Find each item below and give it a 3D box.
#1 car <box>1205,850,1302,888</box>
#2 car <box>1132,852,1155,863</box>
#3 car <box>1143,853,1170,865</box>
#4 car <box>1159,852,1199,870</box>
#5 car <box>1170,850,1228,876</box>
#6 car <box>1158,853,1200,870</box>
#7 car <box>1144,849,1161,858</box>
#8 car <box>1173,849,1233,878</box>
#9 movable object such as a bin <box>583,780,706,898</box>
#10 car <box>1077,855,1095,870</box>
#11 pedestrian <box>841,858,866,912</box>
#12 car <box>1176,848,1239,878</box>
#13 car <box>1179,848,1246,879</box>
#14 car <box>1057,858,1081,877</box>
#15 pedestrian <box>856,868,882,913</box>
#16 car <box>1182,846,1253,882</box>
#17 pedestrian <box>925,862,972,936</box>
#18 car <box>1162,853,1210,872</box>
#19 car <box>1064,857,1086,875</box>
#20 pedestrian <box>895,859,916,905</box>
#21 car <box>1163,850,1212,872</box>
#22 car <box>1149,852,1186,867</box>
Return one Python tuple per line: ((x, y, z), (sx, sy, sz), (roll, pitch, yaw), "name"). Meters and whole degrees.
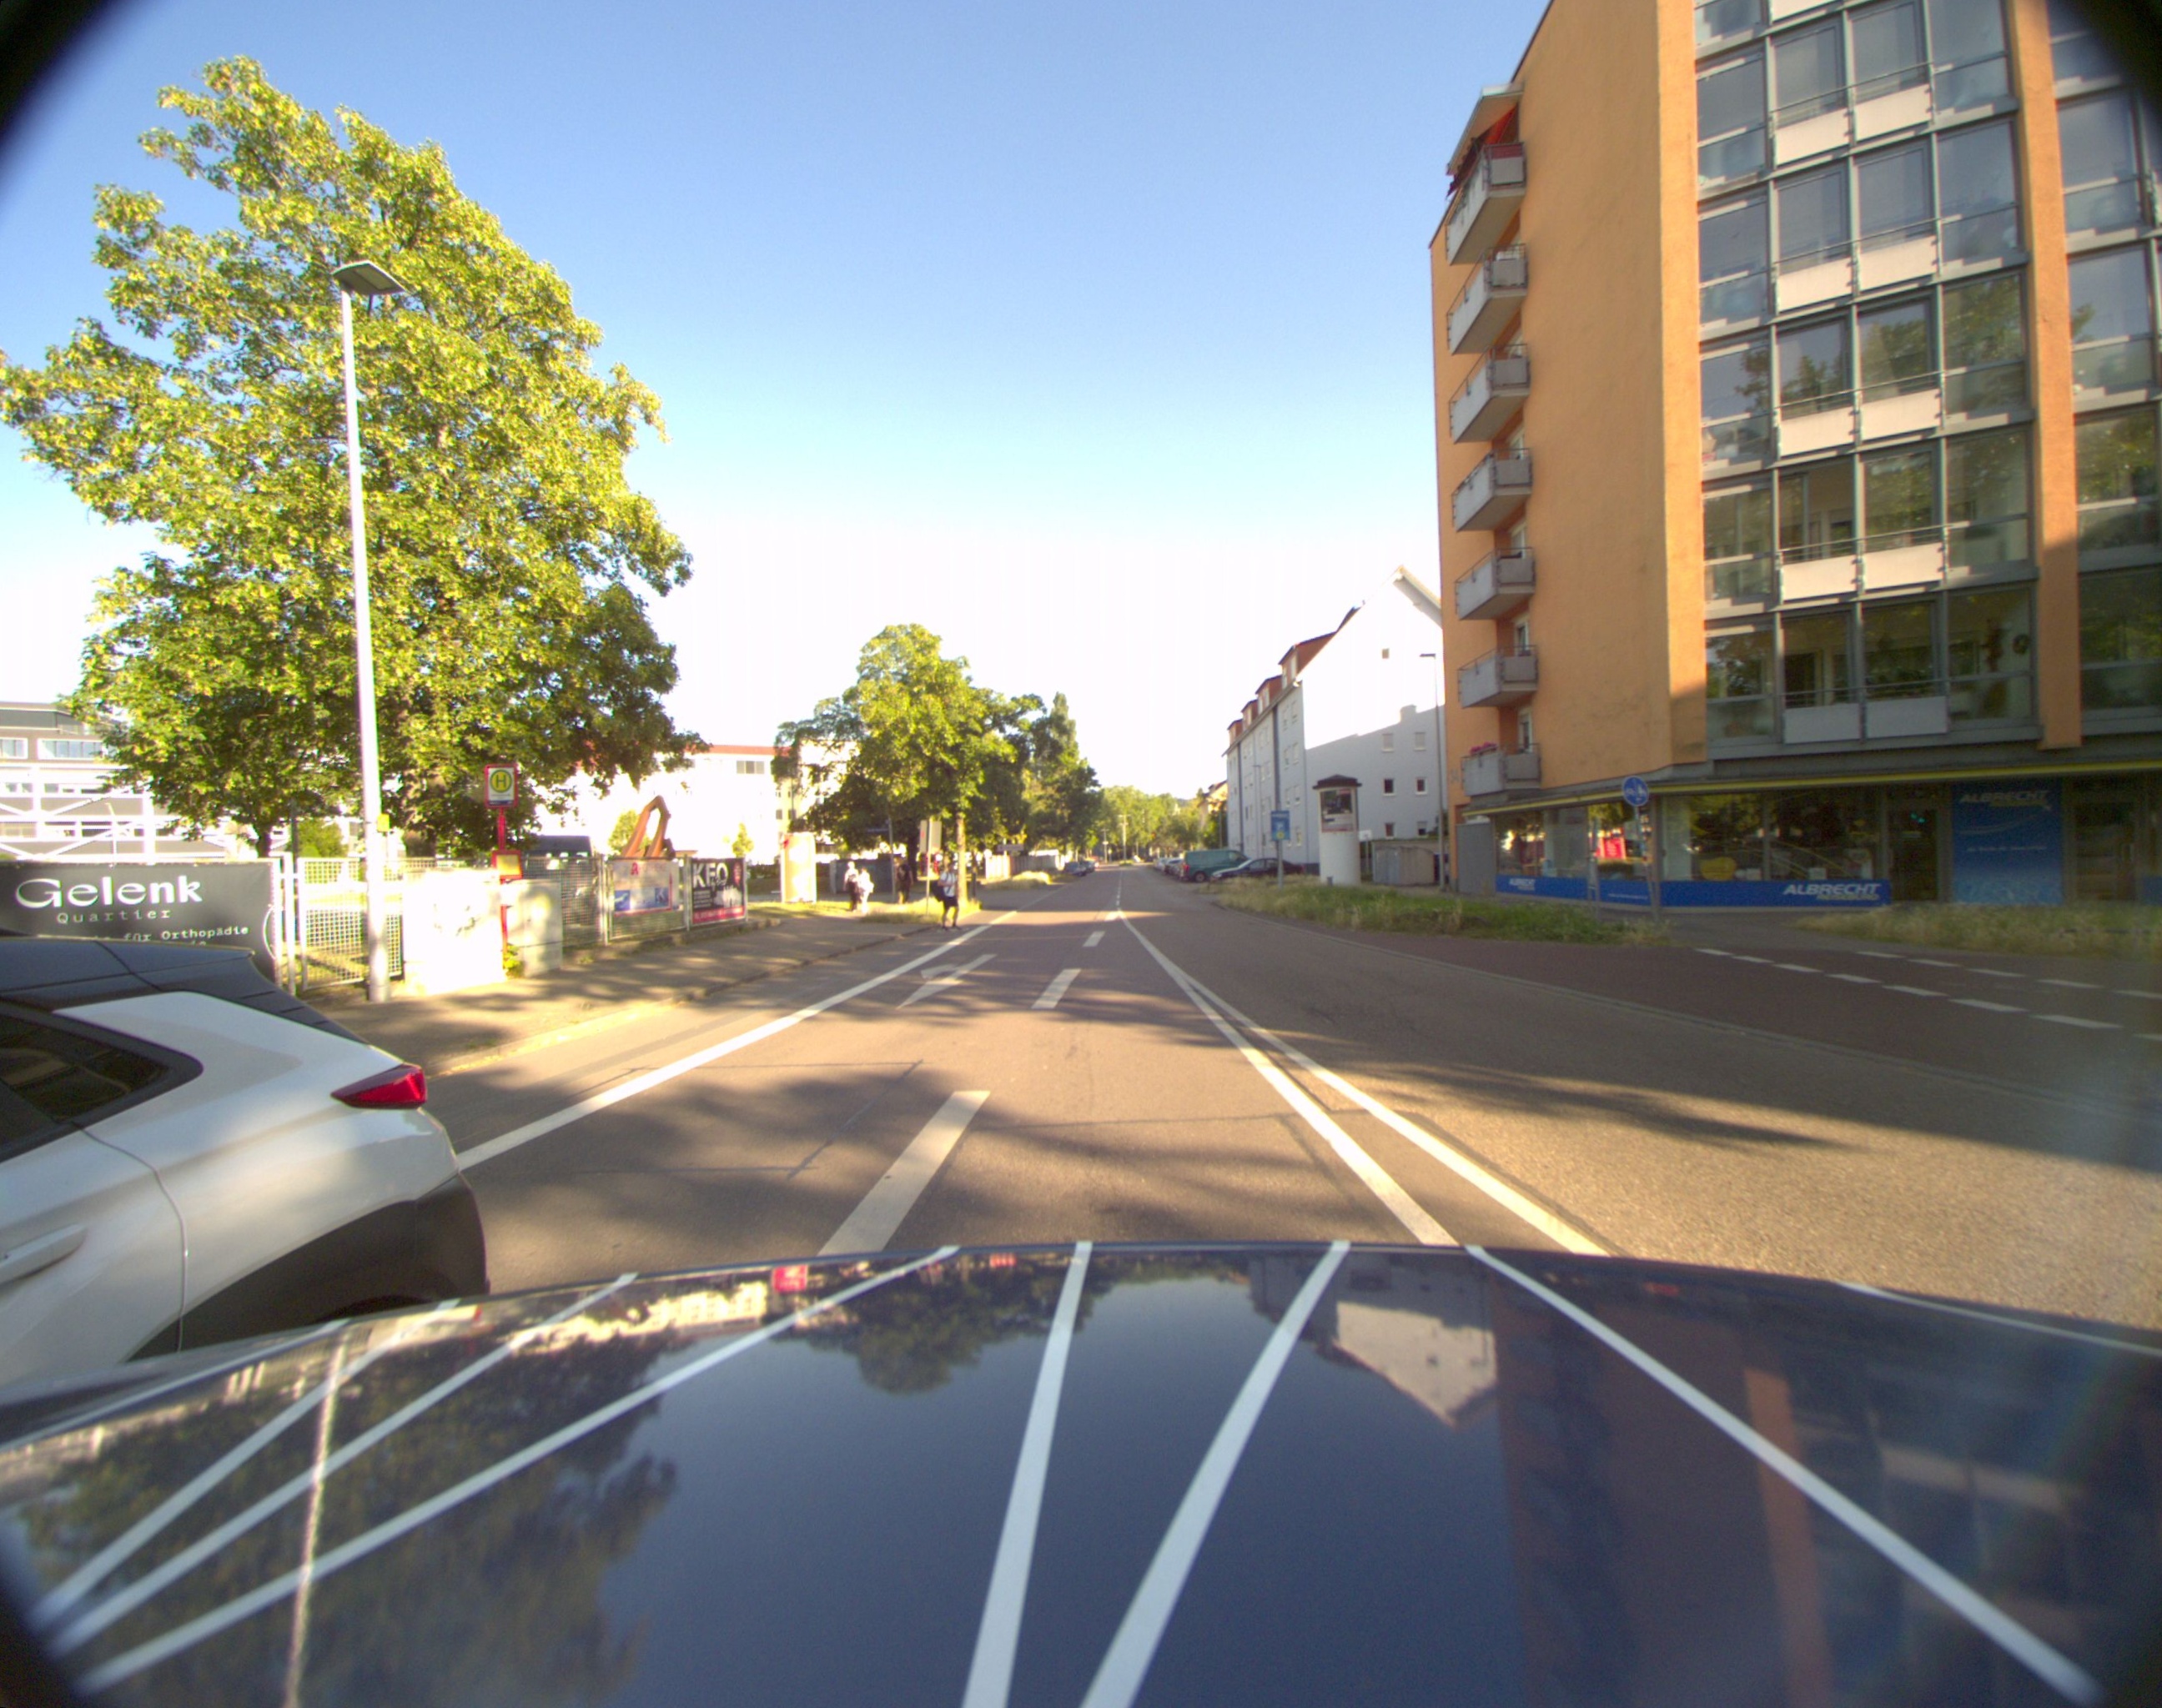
((8.290, 0.722, 36.884), (4.423, 1.652, 2.001), (-2, 1, 9), "car")
((9.691, 0.576, 118.232), (3.538, 1.564, 1.867), (-2, 1, 5), "car")
((10.456, 0.691, 105.252), (3.538, 1.564, 1.867), (-2, 1, 5), "car")
((10.250, 0.714, 80.076), (4.071, 1.741, 1.899), (-2, 1, 5), "car")
((8.739, 0.653, 56.447), (4.071, 1.741, 1.899), (-2, 1, 5), "car")
((10.298, 0.745, 79.941), (4.257, 1.564, 1.867), (-2, 1, 5), "car")
((15.250, -0.119, 161.397), (3.538, 1.564, 1.867), (-2, 1, 5), "car")
((8.563, 0.658, 53.703), (4.059, 1.805, 1.937), (-2, 1, 5), "car")
((-22.236, -0.706, 38.557), (3.986, 5.447, 6.016), (-3, 1, -42), "movable object such as a bin")
((0.559, 0.940, 87.986), (1.998, 1.521, 3.999), (-2, 1, 1), "car")
((-7.575, 1.018, 25.362), (0.609, 1.727, 0.638), (-2, 1, -5), "pedestrian")
((8.492, 0.578, 51.352), (3.995, 1.805, 2.000), (-2, 1, 5), "car")
((8.349, 0.614, 48.596), (3.995, 1.805, 2.000), (-2, 1, 5), "car")
((-1.098, 1.209, 69.605), (1.998, 1.521, 3.999), (-2, 1, 1), "car")
((-6.912, 1.178, 24.820), (0.609, 1.426, 0.639), (-2, 1, 1), "pedestrian")
((8.186, 0.584, 45.948), (3.996, 1.936, 2.000), (-2, 1, 4), "car")
((-3.306, 1.091, 18.910), (0.903, 1.727, 1.086), (-3, 1, -21), "pedestrian")
((9.559, 0.762, 69.384), (4.257, 1.564, 1.867), (-2, 1, 5), "car")
((-0.596, 1.141, 73.952), (1.998, 1.521, 3.999), (-2, 1, 1), "car")
((-6.602, 1.047, 28.650), (0.696, 1.659, 0.638), (-2, 1, -11), "pedestrian")
((9.266, 0.598, 66.497), (4.117, 1.762, 1.757), (-2, 1, 5), "car")
((10.213, 0.633, 90.200), (4.257, 1.564, 1.867), (-2, 1, 5), "car")
